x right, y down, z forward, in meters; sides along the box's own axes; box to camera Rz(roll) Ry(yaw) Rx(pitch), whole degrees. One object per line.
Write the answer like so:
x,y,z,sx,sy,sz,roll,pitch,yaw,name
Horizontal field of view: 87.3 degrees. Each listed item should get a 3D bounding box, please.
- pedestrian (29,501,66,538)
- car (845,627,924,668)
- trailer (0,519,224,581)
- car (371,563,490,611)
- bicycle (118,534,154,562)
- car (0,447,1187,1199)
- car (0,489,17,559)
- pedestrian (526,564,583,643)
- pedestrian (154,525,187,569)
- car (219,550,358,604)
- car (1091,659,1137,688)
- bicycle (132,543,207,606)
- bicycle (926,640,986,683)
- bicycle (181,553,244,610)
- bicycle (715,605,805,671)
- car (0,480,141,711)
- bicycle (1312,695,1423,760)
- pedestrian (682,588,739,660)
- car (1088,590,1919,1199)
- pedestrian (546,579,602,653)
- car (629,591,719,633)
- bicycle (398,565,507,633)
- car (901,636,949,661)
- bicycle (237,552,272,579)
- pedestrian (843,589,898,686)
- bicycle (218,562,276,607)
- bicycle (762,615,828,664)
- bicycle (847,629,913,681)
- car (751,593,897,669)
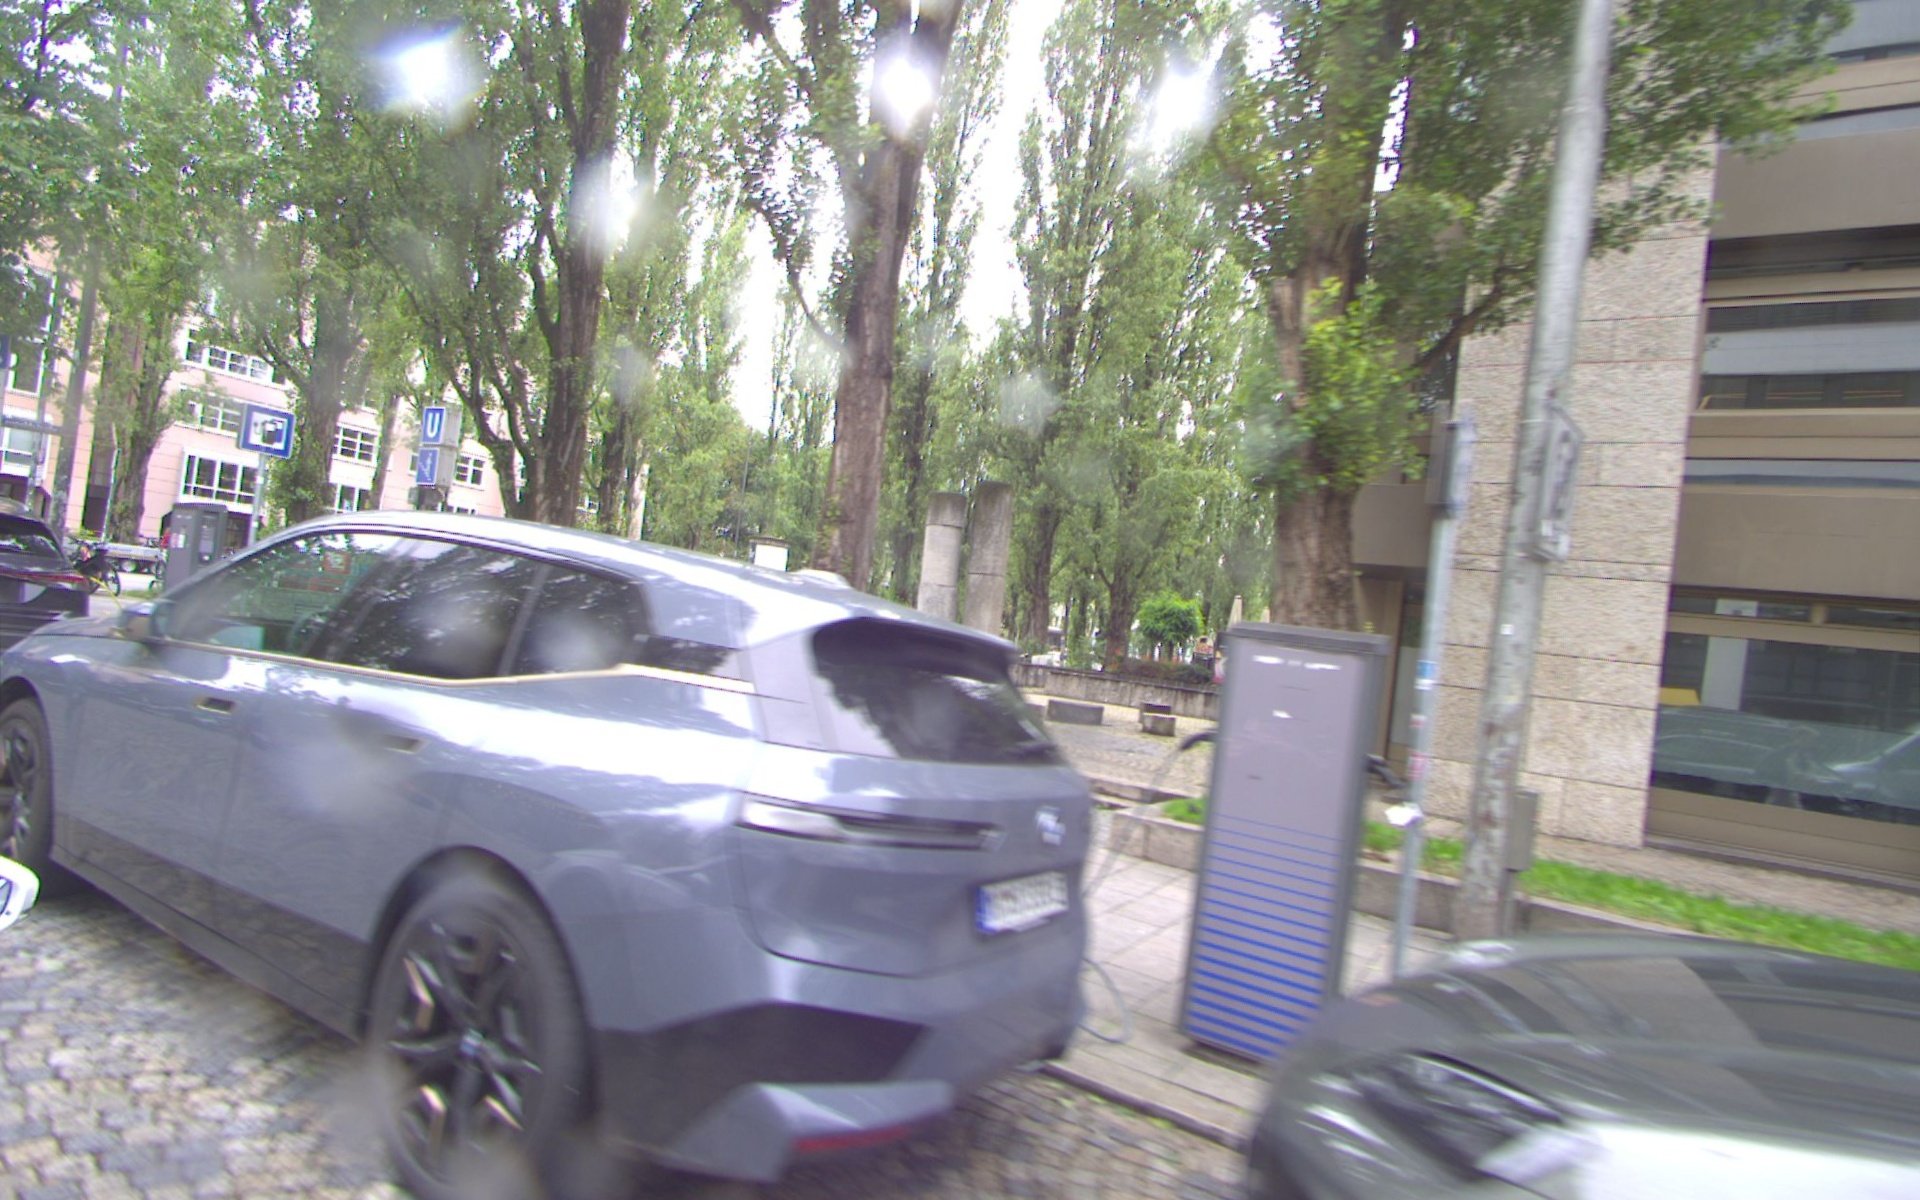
-38.042,-3.359,41.930,0.718,1.385,0.710,7,-1,4,pedestrian
-3.630,2.349,49.092,1.719,1.544,3.947,8,-2,31,car
-30.176,-1.740,35.833,2.366,1.213,5.919,6,-3,34,trailer
-24.054,-0.569,45.861,1.967,1.559,4.320,6,-2,31,car
-38.638,-2.440,47.160,1.957,1.137,0.675,6,-1,34,bicycle
-1.768,0.543,3.830,4.595,1.719,2.018,6,-3,31,car
-33.225,-2.820,31.105,1.991,2.222,5.488,6,-2,33,car
-10.049,0.088,24.952,0.739,1.824,0.840,6,-2,38,pedestrian
-33.587,-2.264,42.798,0.698,1.733,0.730,6,-1,34,pedestrian
-26.965,-0.895,40.526,1.778,1.559,4.225,5,-3,35,car
11.150,5.342,72.728,1.719,1.661,3.947,8,-2,31,car
-16.250,-0.542,20.663,1.899,1.118,0.512,5,-2,33,bicycle
-0.139,2.008,33.154,1.840,1.173,0.586,6,-2,35,bicycle
-15.844,-0.402,21.301,1.806,1.050,0.512,5,-2,38,bicycle
-4.154,0.813,21.065,0.578,1.173,1.866,6,-2,34,bicycle
-9.090,-0.249,8.494,4.131,1.719,1.925,6,-3,31,car
9.501,2.953,23.510,2.209,1.169,0.647,6,-2,33,bicycle
-7.126,0.700,28.755,0.905,1.888,1.011,6,-2,38,pedestrian
2.506,1.091,1.205,4.269,1.600,1.998,6,-3,31,car
-9.221,0.392,24.039,0.688,1.624,0.831,6,-2,38,pedestrian
-16.467,0.739,58.068,1.967,1.817,4.755,6,-2,32,car
-10.711,-0.011,21.263,0.580,1.173,1.860,6,-3,44,bicycle
-2.714,3.823,79.006,1.738,1.598,3.964,6,-1,33,car
-35.922,-1.767,51.213,1.957,1.137,0.675,6,-1,34,bicycle
-1.583,0.670,17.915,0.707,1.625,0.709,7,-1,0,pedestrian
-15.598,-0.356,21.990,1.806,0.827,0.470,5,-2,38,bicycle
-4.613,1.132,28.266,0.578,1.173,1.866,6,-2,34,bicycle
-2.049,1.432,26.039,0.578,1.173,1.866,6,-2,34,bicycle
-4.577,1.126,34.716,1.786,1.916,5.195,7,-3,35,car
